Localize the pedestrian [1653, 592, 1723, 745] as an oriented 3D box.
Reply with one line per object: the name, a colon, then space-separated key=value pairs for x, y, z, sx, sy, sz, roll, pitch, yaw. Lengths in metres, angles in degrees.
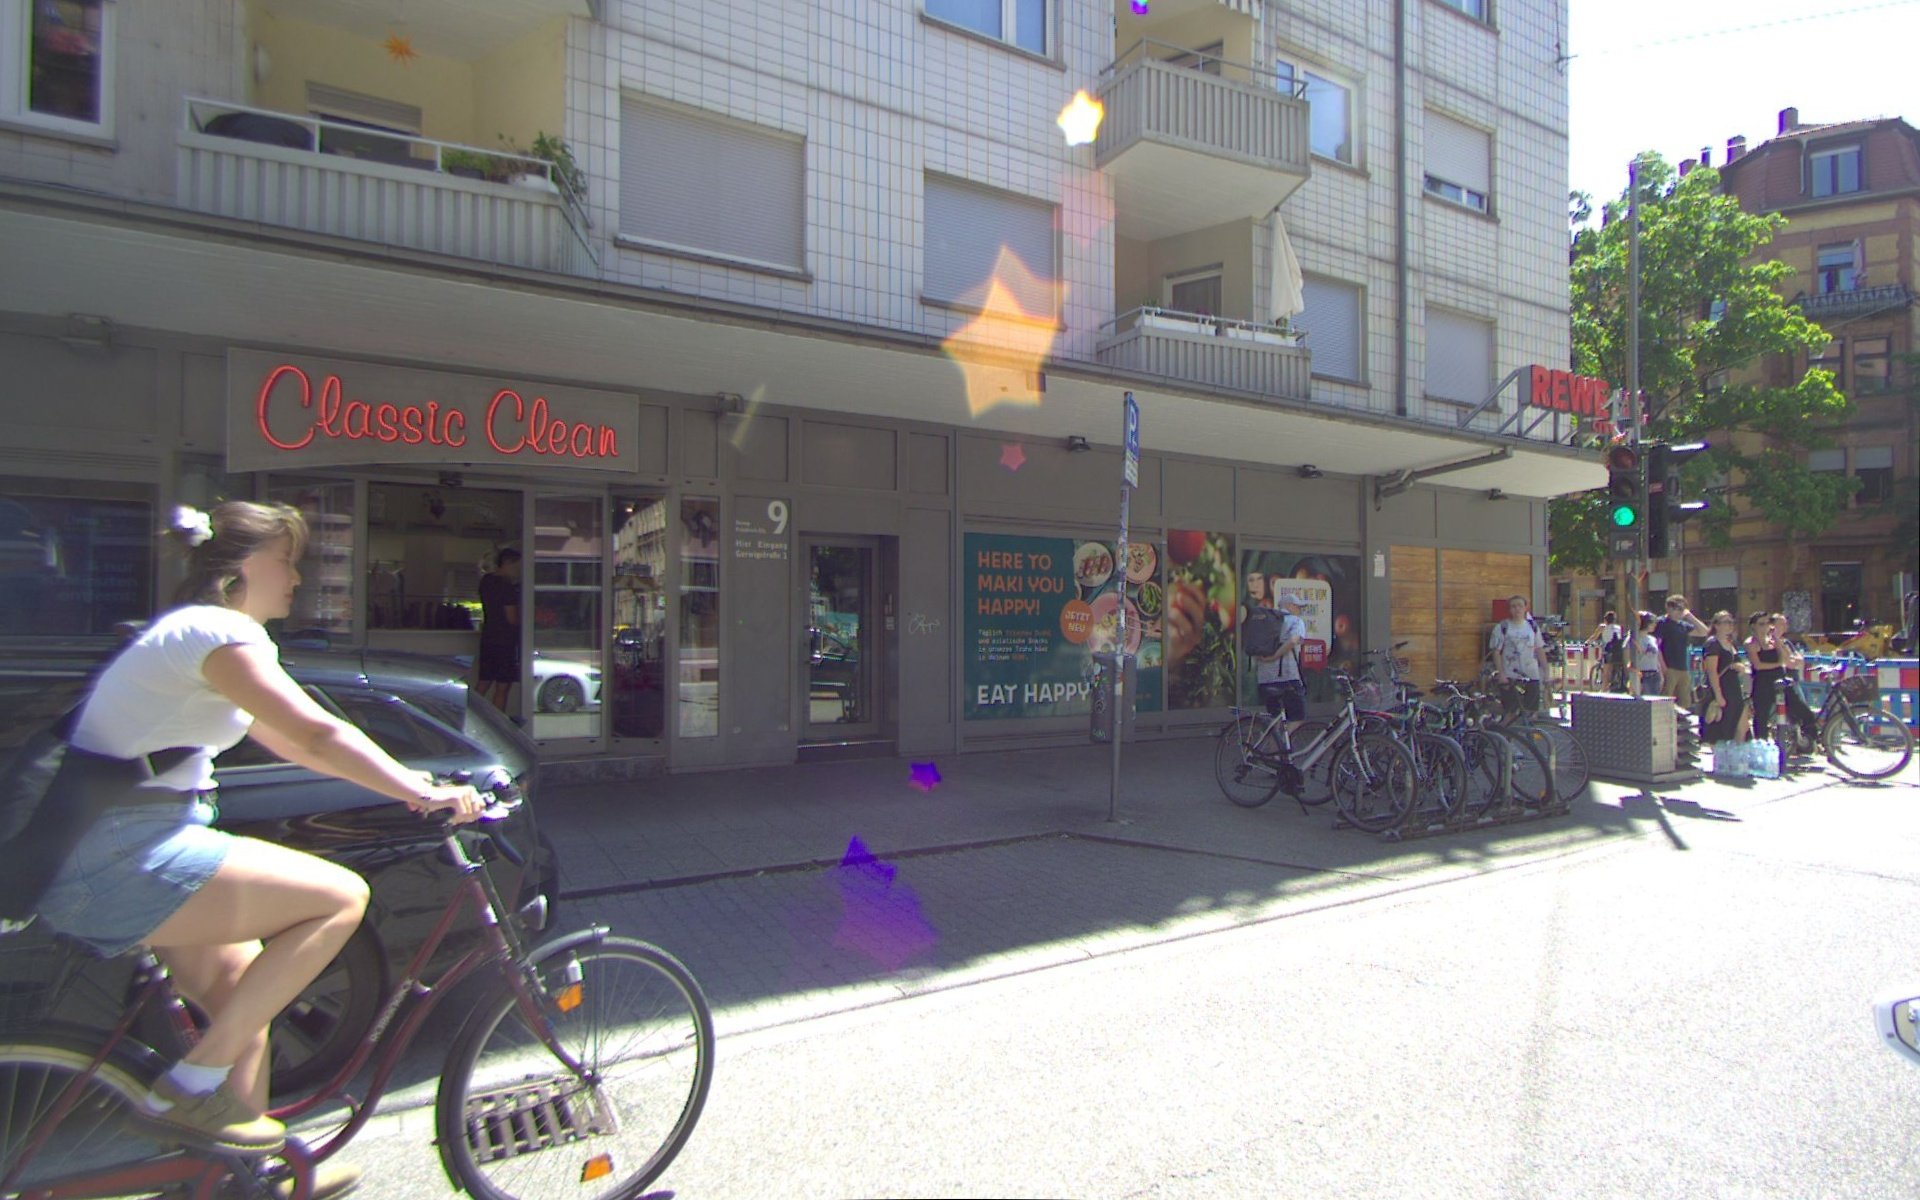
pedestrian: x=9.053 y=0.834 z=12.495 sx=0.593 sy=1.844 sz=0.506 roll=1 pitch=-2 yaw=-32

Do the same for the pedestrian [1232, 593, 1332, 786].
pedestrian: x=3.057 y=0.823 z=9.546 sx=0.650 sy=1.749 sz=0.628 roll=1 pitch=-2 yaw=-29

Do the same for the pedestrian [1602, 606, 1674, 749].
pedestrian: x=8.106 y=0.903 z=12.008 sx=0.593 sy=1.654 sz=0.506 roll=1 pitch=-2 yaw=-32

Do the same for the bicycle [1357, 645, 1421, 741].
bicycle: x=5.412 y=1.139 z=12.633 sx=0.317 sy=1.101 sz=1.425 roll=0 pitch=0 yaw=41

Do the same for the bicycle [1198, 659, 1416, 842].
bicycle: x=2.608 y=1.081 z=7.703 sx=0.521 sy=1.154 sz=1.574 roll=1 pitch=1 yaw=-33

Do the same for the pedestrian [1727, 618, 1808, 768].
pedestrian: x=8.790 y=0.995 z=10.947 sx=0.450 sy=1.587 sz=0.497 roll=0 pitch=1 yaw=-4

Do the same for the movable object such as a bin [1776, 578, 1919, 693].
movable object such as a bin: x=22.981 y=0.851 z=24.395 sx=1.933 sy=2.694 sz=4.519 roll=1 pitch=0 yaw=-31

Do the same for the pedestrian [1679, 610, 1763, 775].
pedestrian: x=7.933 y=0.937 z=10.472 sx=0.506 sy=1.654 sz=0.538 roll=1 pitch=-2 yaw=-32

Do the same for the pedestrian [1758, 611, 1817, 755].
pedestrian: x=9.689 y=0.953 z=11.764 sx=0.470 sy=1.639 sz=0.387 roll=1 pitch=-2 yaw=-32

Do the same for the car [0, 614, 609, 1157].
car: x=-3.621 y=0.826 z=3.351 sx=4.410 sy=1.545 sz=1.662 roll=1 pitch=-1 yaw=-30

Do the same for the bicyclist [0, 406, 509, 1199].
bicyclist: x=-1.562 y=0.531 z=2.224 sx=0.967 sy=1.729 sz=0.620 roll=1 pitch=-1 yaw=-30

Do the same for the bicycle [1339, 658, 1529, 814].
bicycle: x=4.043 y=1.120 z=8.677 sx=0.332 sy=1.132 sz=1.510 roll=1 pitch=1 yaw=-33

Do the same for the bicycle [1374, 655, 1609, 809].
bicycle: x=4.702 y=1.119 z=9.013 sx=0.572 sy=1.138 sz=1.786 roll=1 pitch=0 yaw=-35

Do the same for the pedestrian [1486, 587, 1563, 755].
pedestrian: x=6.229 y=0.771 z=11.094 sx=0.593 sy=1.794 sz=0.506 roll=1 pitch=-2 yaw=-32

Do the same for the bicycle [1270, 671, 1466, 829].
bicycle: x=3.237 y=1.154 z=8.099 sx=0.394 sy=1.044 sz=1.485 roll=1 pitch=1 yaw=-33

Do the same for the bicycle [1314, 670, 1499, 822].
bicycle: x=3.660 y=1.161 z=8.341 sx=0.332 sy=1.050 sz=1.439 roll=1 pitch=1 yaw=-33

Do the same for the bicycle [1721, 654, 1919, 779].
bicycle: x=9.139 y=1.186 z=10.727 sx=0.459 sy=1.134 sz=1.808 roll=0 pitch=0 yaw=-8

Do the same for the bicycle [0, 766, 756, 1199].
bicycle: x=-1.481 y=1.031 z=2.260 sx=1.917 sy=1.106 sz=0.600 roll=1 pitch=-2 yaw=-31
